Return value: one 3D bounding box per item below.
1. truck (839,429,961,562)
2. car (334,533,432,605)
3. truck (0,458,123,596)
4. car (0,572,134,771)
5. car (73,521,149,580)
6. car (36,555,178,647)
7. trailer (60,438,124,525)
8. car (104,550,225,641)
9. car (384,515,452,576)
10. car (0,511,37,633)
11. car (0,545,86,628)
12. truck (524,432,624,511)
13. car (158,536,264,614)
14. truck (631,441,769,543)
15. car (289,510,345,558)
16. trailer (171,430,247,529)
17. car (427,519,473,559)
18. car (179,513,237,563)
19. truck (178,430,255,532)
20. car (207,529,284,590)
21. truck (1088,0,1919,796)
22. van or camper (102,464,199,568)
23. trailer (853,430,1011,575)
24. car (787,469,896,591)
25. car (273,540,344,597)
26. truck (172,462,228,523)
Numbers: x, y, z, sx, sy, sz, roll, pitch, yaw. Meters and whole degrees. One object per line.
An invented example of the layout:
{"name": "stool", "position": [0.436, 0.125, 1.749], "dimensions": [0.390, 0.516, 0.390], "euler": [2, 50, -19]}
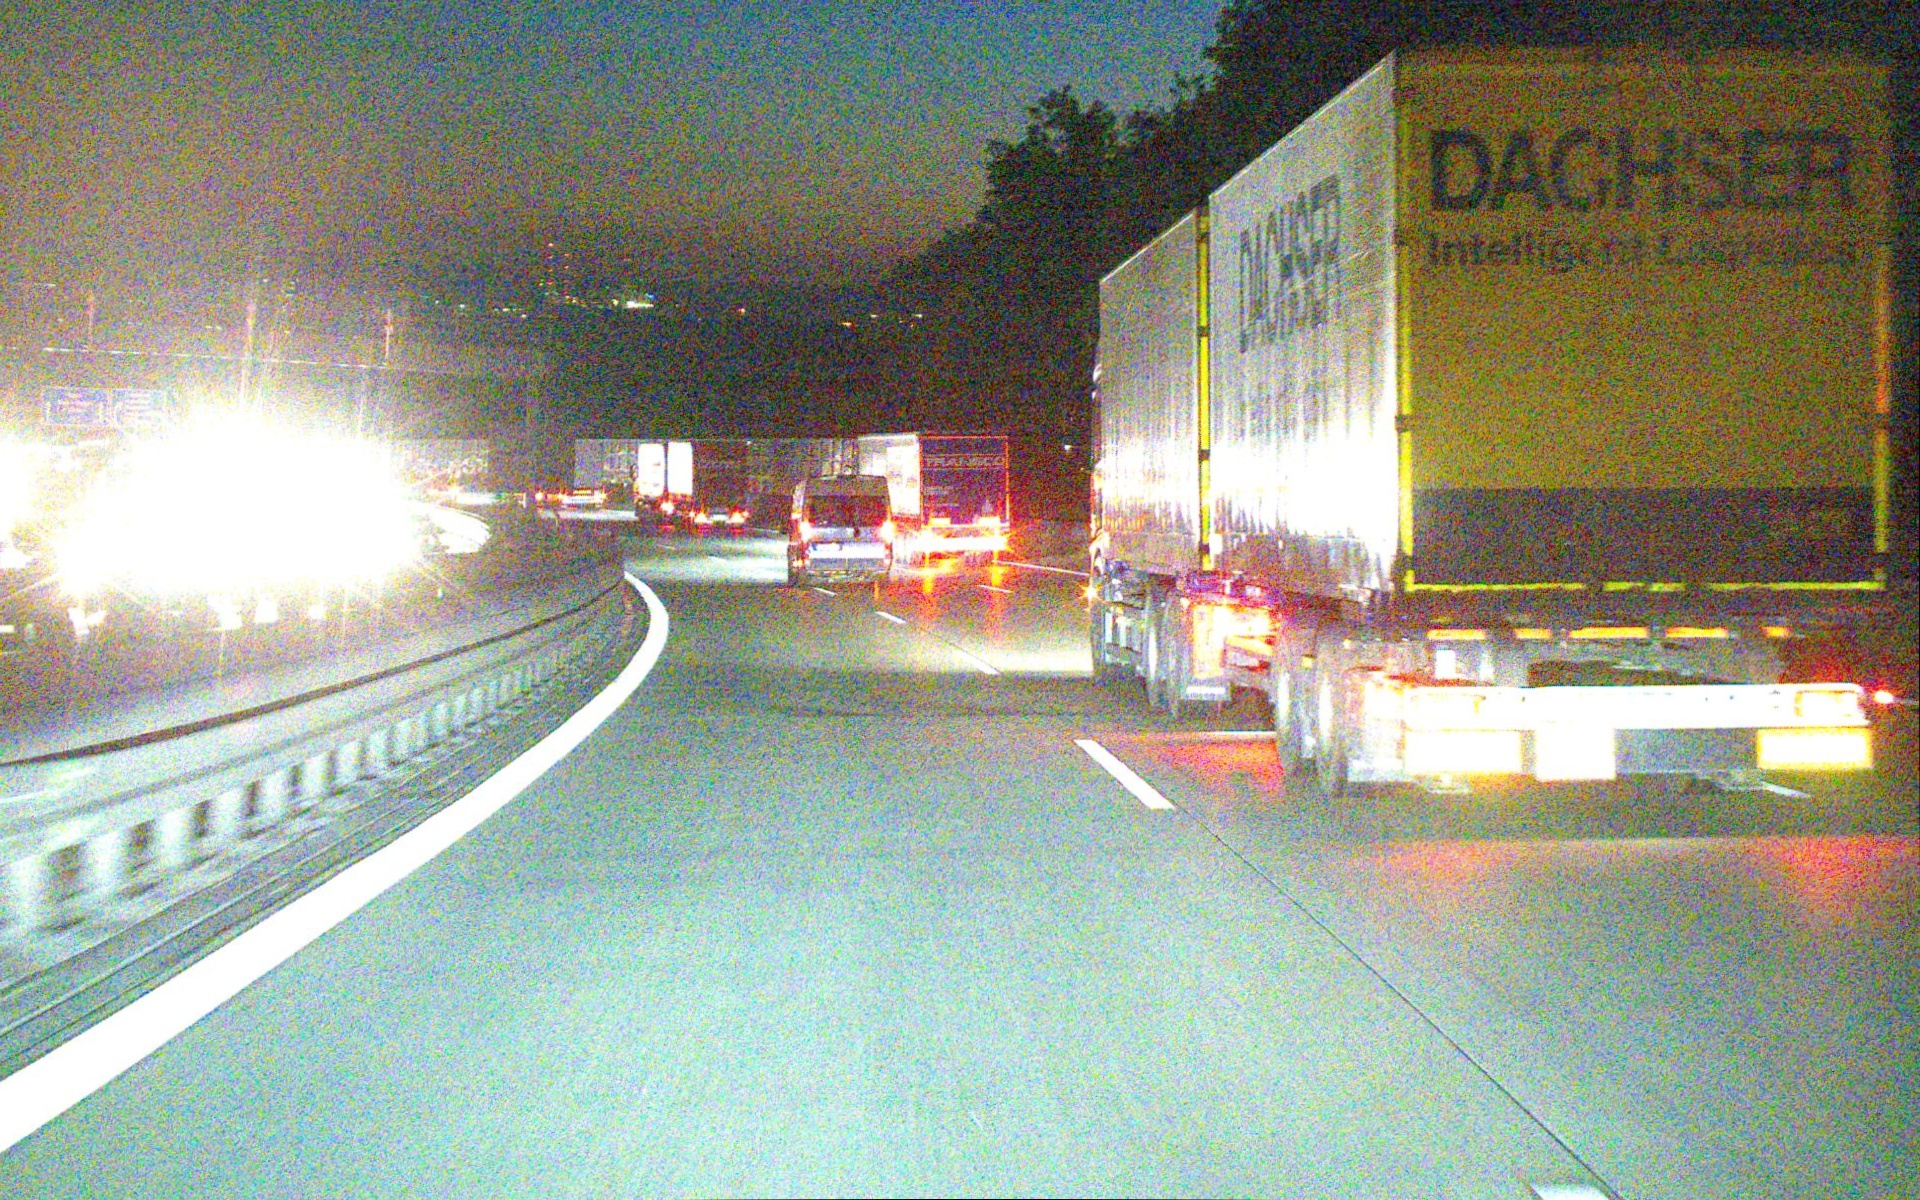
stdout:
{"name": "truck", "position": [-1.958, -3.372, 109.031], "dimensions": [2.861, 4.062, 7.513], "euler": [0, 3, -9]}
{"name": "car", "position": [-11.636, -0.650, 69.571], "dimensions": [1.754, 1.350, 4.293], "euler": [-1, 2, -7]}
{"name": "truck", "position": [-22.469, -1.843, 86.067], "dimensions": [2.375, 3.249, 7.726], "euler": [-2, 2, -10]}
{"name": "car", "position": [-8.117, 0.530, 28.065], "dimensions": [1.833, 1.446, 4.506], "euler": [-1, 1, -3]}
{"name": "car", "position": [-23.336, -1.371, 94.589], "dimensions": [1.640, 1.534, 4.439], "euler": [-1, 2, -9]}
{"name": "car", "position": [-15.096, -0.005, 61.006], "dimensions": [1.606, 1.474, 4.075], "euler": [-2, 2, -2]}
{"name": "trailer", "position": [-44.548, -6.131, 176.212], "dimensions": [2.839, 4.157, 13.290], "euler": [-3, 3, -15]}
{"name": "car", "position": [-16.324, -0.120, 70.703], "dimensions": [1.738, 1.737, 4.001], "euler": [-2, 2, -3]}
{"name": "car", "position": [-14.936, -1.481, 94.871], "dimensions": [1.680, 1.560, 4.001], "euler": [-3, 1, -8]}
{"name": "car", "position": [-19.211, -0.531, 65.855], "dimensions": [2.130, 2.259, 4.565], "euler": [-1, 2, -5]}
{"name": "car", "position": [-20.411, -0.318, 75.067], "dimensions": [1.861, 1.694, 4.394], "euler": [-2, 2, -6]}
{"name": "truck", "position": [-23.336, -7.787, 207.174], "dimensions": [3.343, 4.460, 13.915], "euler": [2, 2, -17]}
{"name": "car", "position": [-17.052, -0.598, 78.451], "dimensions": [1.993, 1.654, 4.455], "euler": [-1, 2, -8]}
{"name": "truck", "position": [-12.900, -5.338, 168.085], "dimensions": [3.914, 4.611, 21.026], "euler": [-1, 2, -12]}
{"name": "car", "position": [-21.041, -2.174, 112.599], "dimensions": [1.640, 1.534, 4.001], "euler": [-1, 2, -9]}
{"name": "trailer", "position": [-33.439, -5.445, 152.797], "dimensions": [2.875, 4.169, 14.529], "euler": [-1, 3, -14]}
{"name": "car", "position": [-16.728, -2.010, 112.675], "dimensions": [1.418, 1.252, 3.130], "euler": [-1, 2, -9]}
{"name": "car", "position": [-27.141, -2.244, 124.031], "dimensions": [1.885, 1.670, 5.082], "euler": [-1, 2, -14]}
{"name": "truck", "position": [-31.152, -5.010, 143.939], "dimensions": [2.864, 4.195, 6.109], "euler": [-1, 2, -15]}
{"name": "car", "position": [-17.348, -1.002, 83.542], "dimensions": [1.533, 1.331, 4.221], "euler": [-1, 2, -8]}
{"name": "truck", "position": [3.275, -1.240, 26.148], "dimensions": [3.482, 4.120, 18.710], "euler": [1, 1, -1]}
{"name": "van or camper", "position": [-24.391, -2.591, 103.760], "dimensions": [2.222, 2.993, 7.126], "euler": [-1, 2, -8]}
{"name": "trailer", "position": [-0.980, -3.045, 102.837], "dimensions": [2.853, 4.053, 13.210], "euler": [0, 3, -9]}
{"name": "car", "position": [-2.718, -1.560, 77.739], "dimensions": [2.337, 2.631, 5.248], "euler": [1, 1, -3]}
{"name": "car", "position": [-18.083, -0.891, 95.505], "dimensions": [1.640, 1.478, 4.364], "euler": [-1, 2, -7]}
{"name": "truck", "position": [-31.393, -4.456, 141.922], "dimensions": [1.993, 2.449, 5.053], "euler": [-1, 2, -15]}
